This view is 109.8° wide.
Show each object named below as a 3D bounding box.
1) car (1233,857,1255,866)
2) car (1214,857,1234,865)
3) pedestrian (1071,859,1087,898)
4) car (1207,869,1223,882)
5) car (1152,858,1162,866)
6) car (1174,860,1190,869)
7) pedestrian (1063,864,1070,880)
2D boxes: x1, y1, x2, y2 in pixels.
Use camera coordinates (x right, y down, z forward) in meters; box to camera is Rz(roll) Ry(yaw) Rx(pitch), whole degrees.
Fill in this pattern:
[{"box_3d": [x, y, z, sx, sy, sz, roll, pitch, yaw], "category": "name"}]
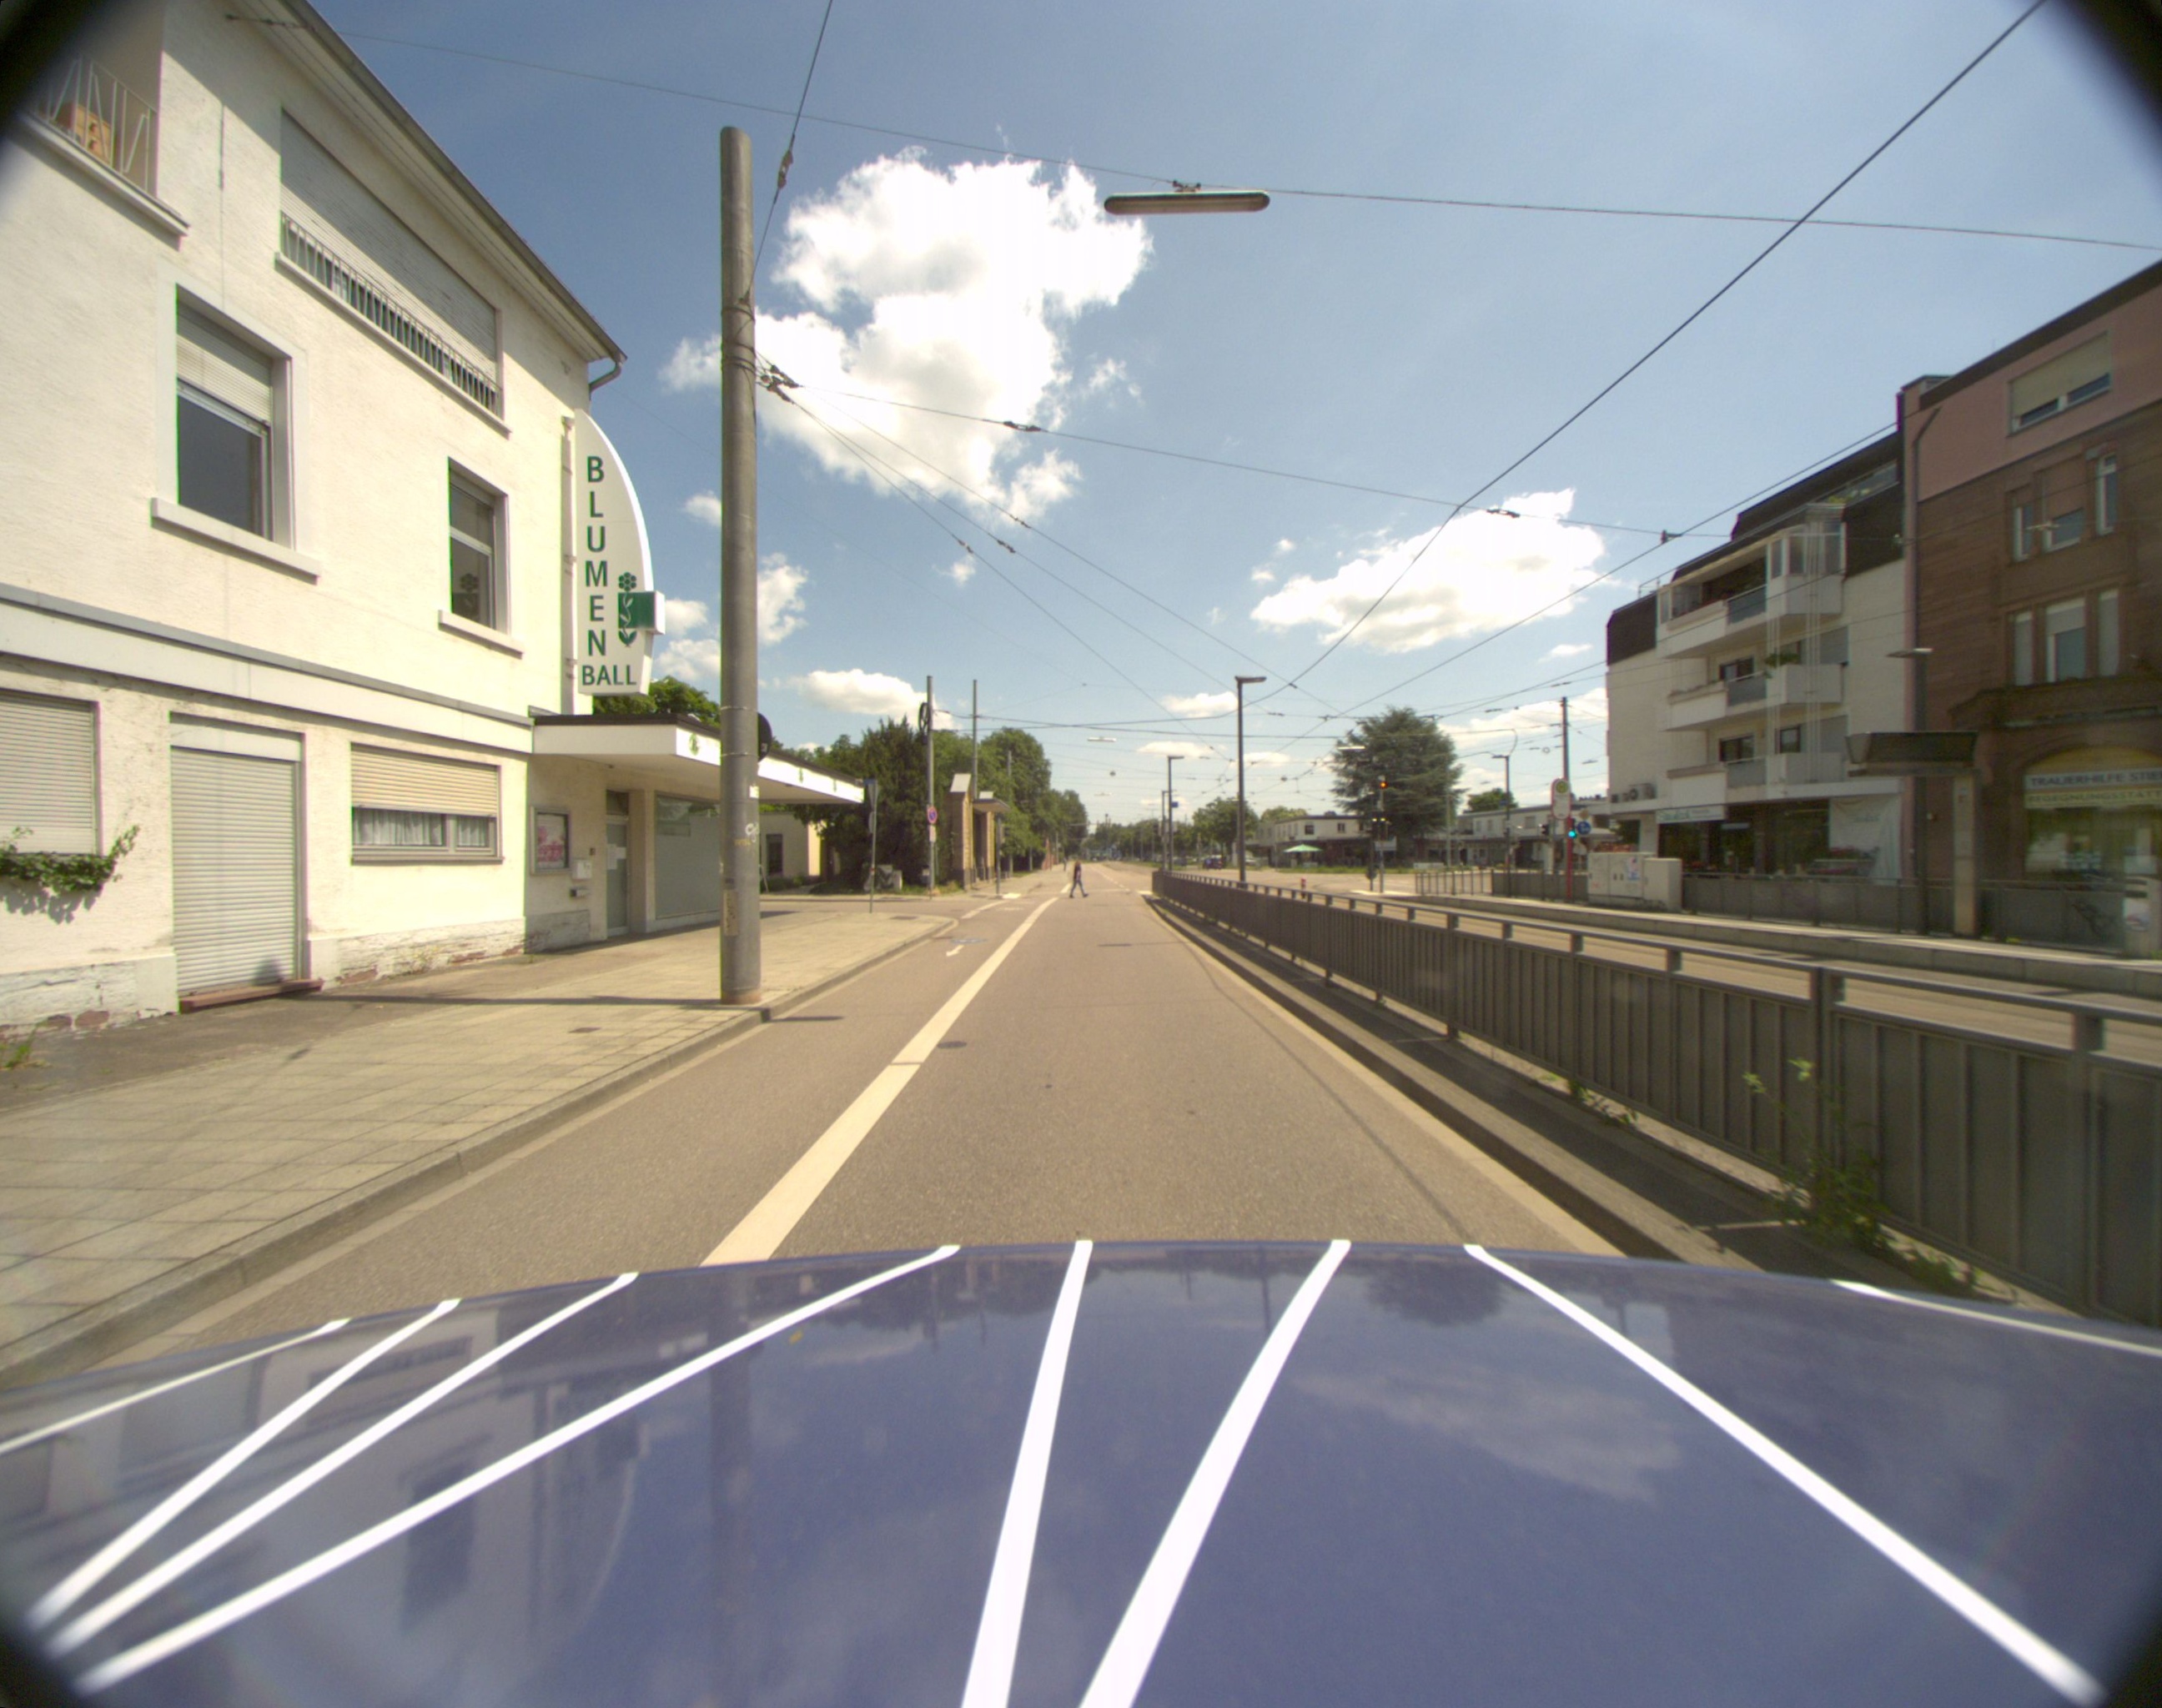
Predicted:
[{"box_3d": [45.425, 2.025, 212.248, 5.698, 2.467, 2.259, 0, 1, -3], "category": "car"}, {"box_3d": [31.977, 1.632, 169.980, 3.997, 1.726, 1.903, 0, 1, 1], "category": "car"}, {"box_3d": [-0.082, 0.988, 30.805, 0.578, 1.547, 0.786, 1, 1, 3], "category": "pedestrian"}, {"box_3d": [17.384, 2.790, 98.742, 1.727, 1.673, 4.281, -1, 0, 5], "category": "car"}, {"box_3d": [21.281, 2.111, 212.976, 2.072, 2.089, 4.488, -2, 1, -2], "category": "car"}, {"box_3d": [16.764, 1.745, 125.781, 1.999, 1.463, 4.401, 0, 0, 0], "category": "car"}, {"box_3d": [-1.676, 2.097, 89.946, 0.767, 1.841, 0.717, 0, 1, -3], "category": "pedestrian"}]
